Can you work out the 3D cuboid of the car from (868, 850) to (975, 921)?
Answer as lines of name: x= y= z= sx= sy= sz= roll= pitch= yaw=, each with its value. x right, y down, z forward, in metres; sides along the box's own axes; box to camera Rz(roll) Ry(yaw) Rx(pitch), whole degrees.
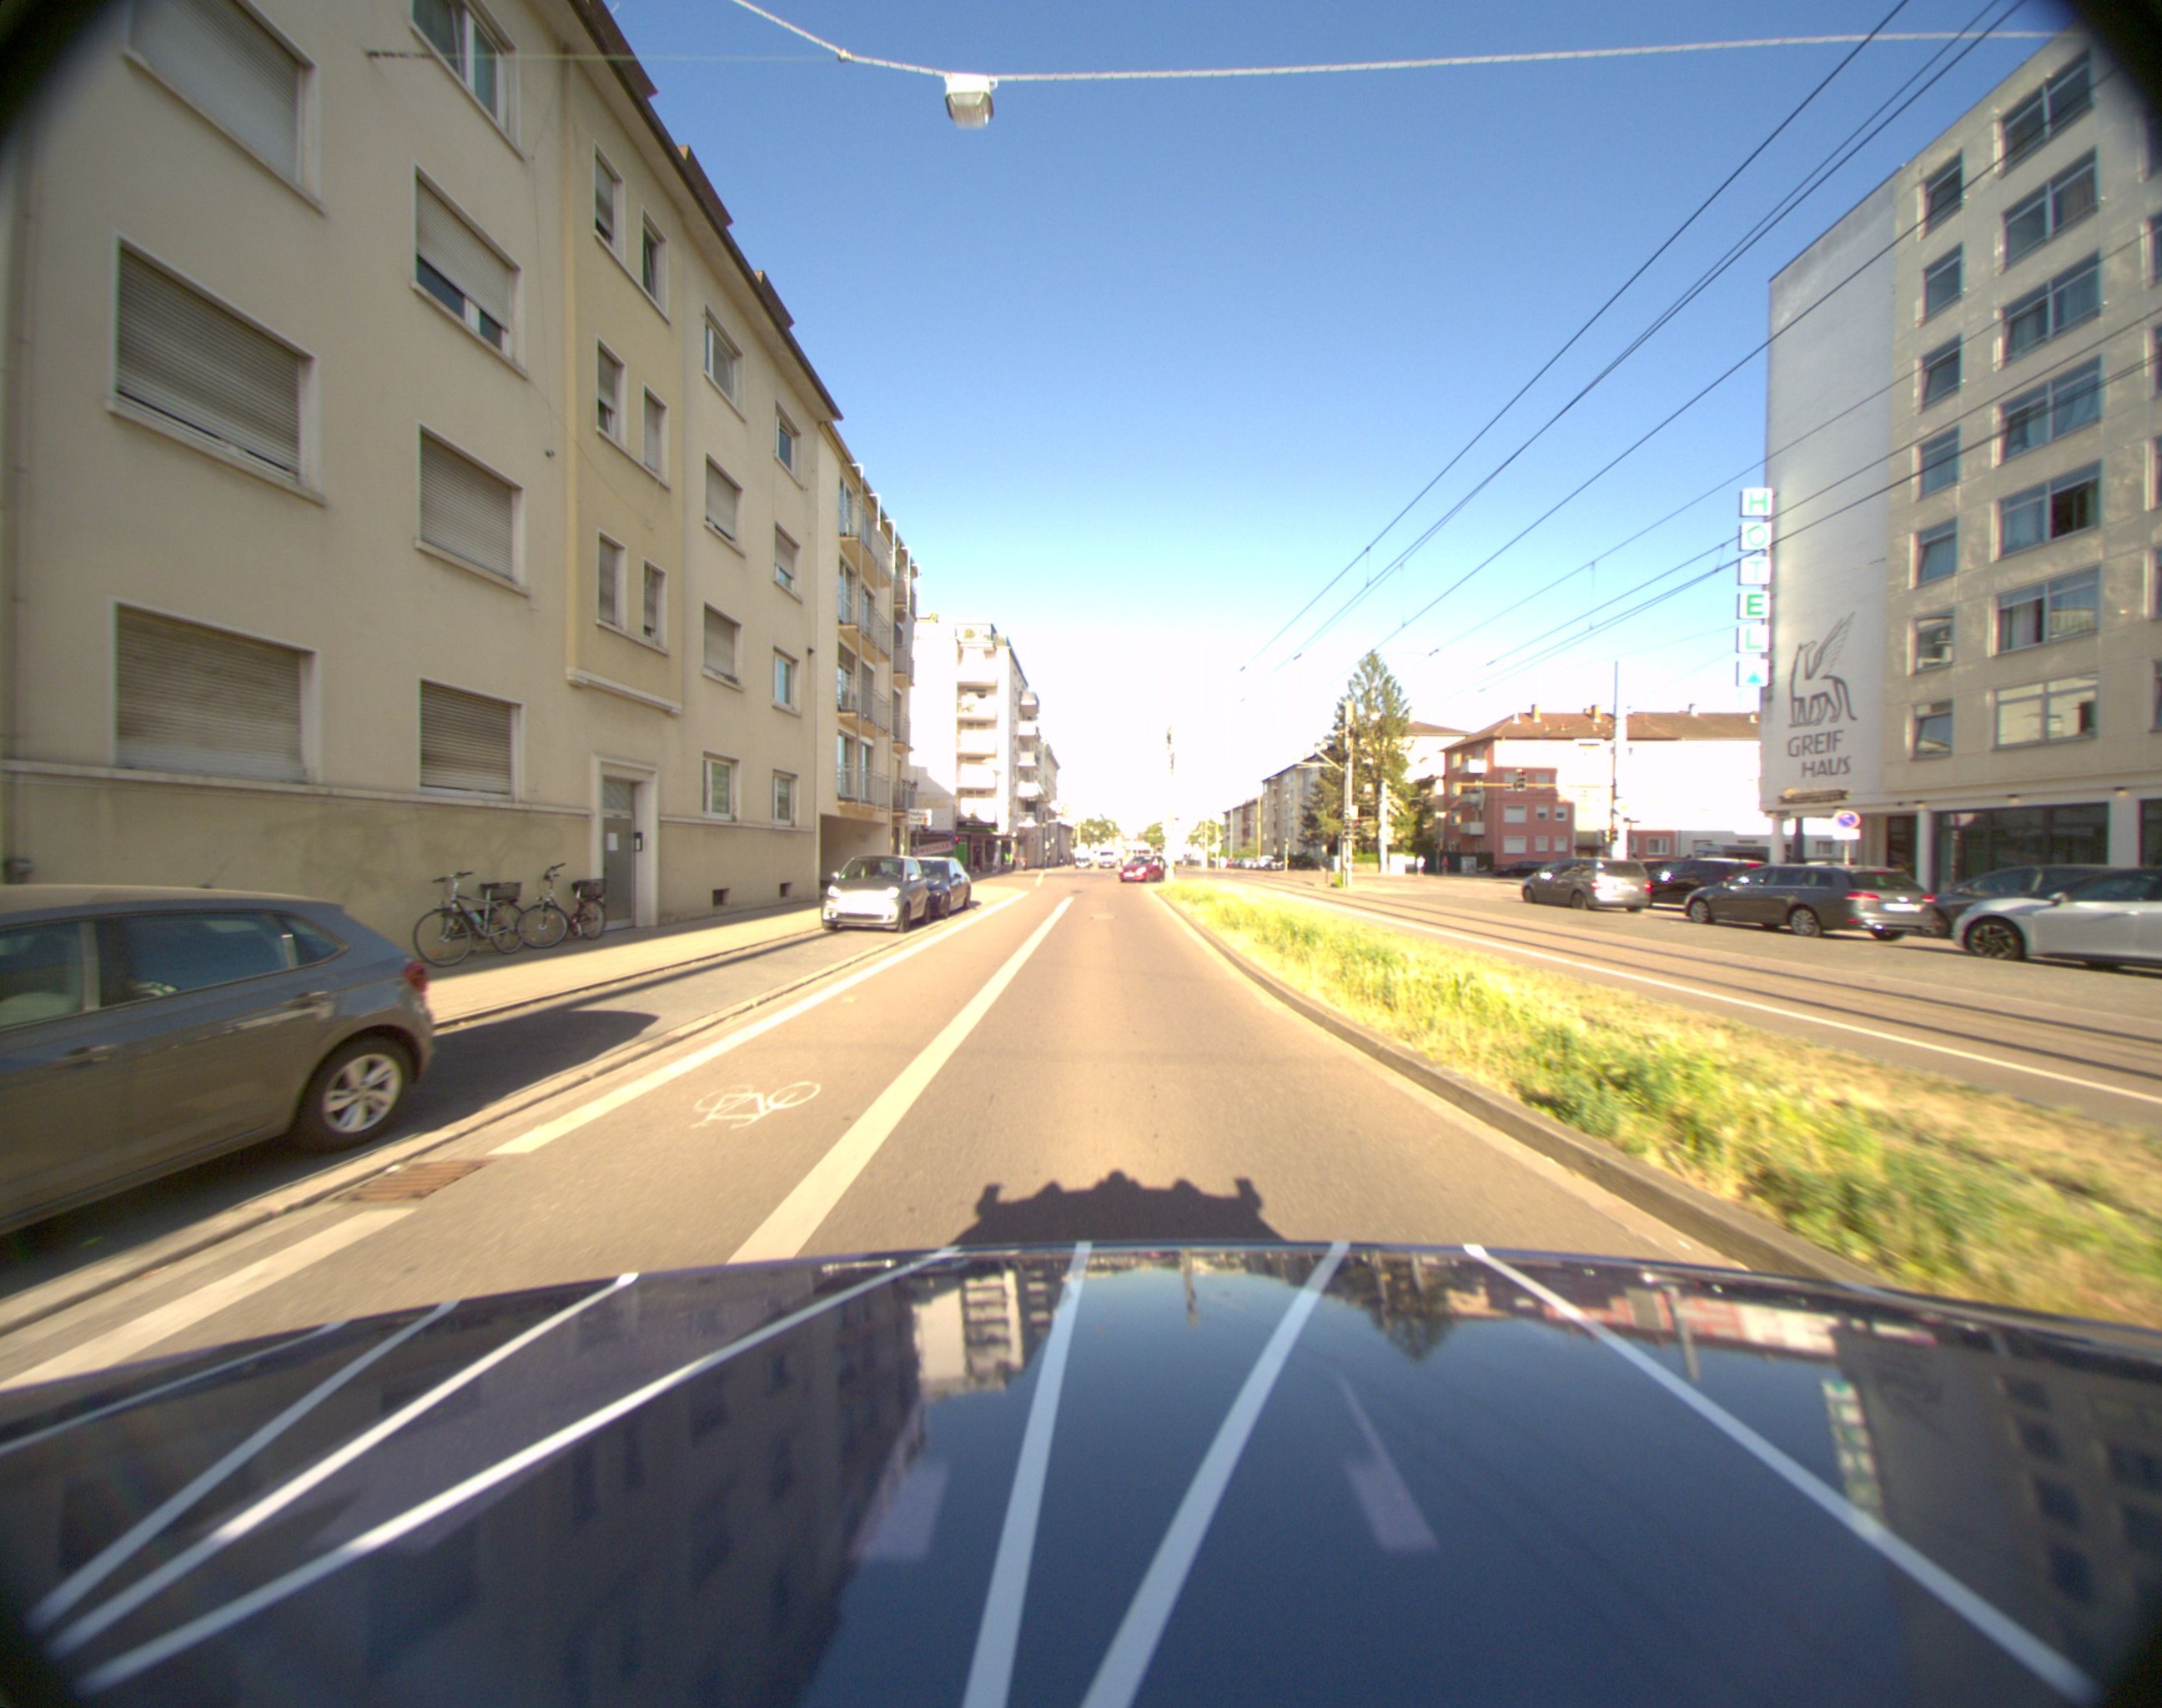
car: x=-3.957 y=0.724 z=19.567 sx=1.822 sy=1.543 sz=4.174 roll=2 pitch=1 yaw=0

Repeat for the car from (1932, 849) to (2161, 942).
car: x=18.439 y=0.700 z=13.940 sx=1.571 sy=1.492 sz=3.571 roll=2 pitch=1 yaw=0

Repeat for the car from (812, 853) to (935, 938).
car: x=-4.164 y=0.779 z=15.652 sx=1.762 sy=1.543 sz=2.649 roll=1 pitch=1 yaw=0

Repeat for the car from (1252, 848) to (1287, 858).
car: x=23.866 y=-0.142 z=96.288 sx=3.996 sy=1.324 sz=1.738 roll=0 pitch=1 yaw=2

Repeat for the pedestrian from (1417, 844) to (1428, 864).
pedestrian: x=28.053 y=-0.032 z=62.468 sx=0.615 sy=1.597 sz=0.510 roll=-3 pitch=1 yaw=0

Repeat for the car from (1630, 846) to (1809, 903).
car: x=18.946 y=0.548 z=22.833 sx=1.998 sy=1.550 sz=3.999 roll=0 pitch=1 yaw=0

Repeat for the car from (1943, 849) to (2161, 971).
car: x=14.732 y=0.747 z=10.010 sx=1.861 sy=1.541 sz=4.240 roll=2 pitch=1 yaw=0

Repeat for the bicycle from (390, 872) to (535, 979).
bicycle: x=-7.788 y=0.847 z=9.671 sx=0.325 sy=1.168 sz=1.763 roll=-3 pitch=1 yaw=0

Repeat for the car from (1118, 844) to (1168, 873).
car: x=3.386 y=0.222 z=40.921 sx=1.860 sy=1.462 sz=3.813 roll=1 pitch=1 yaw=18

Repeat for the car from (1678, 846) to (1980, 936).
car: x=15.325 y=0.656 z=16.008 sx=1.998 sy=1.541 sz=4.366 roll=2 pitch=1 yaw=0

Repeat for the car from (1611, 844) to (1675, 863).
car: x=45.969 y=-0.050 z=62.227 sx=3.898 sy=1.434 sz=1.787 roll=-3 pitch=1 yaw=2

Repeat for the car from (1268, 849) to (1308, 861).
car: x=23.203 y=0.103 z=85.188 sx=3.996 sy=1.324 sz=1.738 roll=0 pitch=1 yaw=2

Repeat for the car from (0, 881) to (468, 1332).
car: x=-4.824 y=0.983 z=2.766 sx=1.750 sy=1.470 sz=4.153 roll=3 pitch=1 yaw=0

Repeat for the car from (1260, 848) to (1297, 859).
car: x=23.574 y=-0.070 z=90.901 sx=3.996 sy=1.324 sz=1.738 roll=0 pitch=1 yaw=2

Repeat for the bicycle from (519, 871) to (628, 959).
bicycle: x=-7.698 y=0.889 z=11.617 sx=0.325 sy=1.168 sz=1.764 roll=-2 pitch=1 yaw=4

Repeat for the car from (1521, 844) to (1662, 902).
car: x=15.324 y=0.499 z=23.078 sx=1.617 sy=1.550 sz=4.000 roll=2 pitch=1 yaw=2

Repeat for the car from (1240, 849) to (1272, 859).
car: x=24.088 y=0.004 z=104.820 sx=3.996 sy=1.324 sz=1.738 roll=0 pitch=1 yaw=2

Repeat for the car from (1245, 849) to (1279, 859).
car: x=23.945 y=-0.020 z=100.615 sx=3.996 sy=1.324 sz=1.738 roll=0 pitch=1 yaw=2

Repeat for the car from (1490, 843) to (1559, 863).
car: x=36.251 y=-0.063 z=62.153 sx=4.461 sy=1.434 sz=1.860 roll=-3 pitch=1 yaw=2
